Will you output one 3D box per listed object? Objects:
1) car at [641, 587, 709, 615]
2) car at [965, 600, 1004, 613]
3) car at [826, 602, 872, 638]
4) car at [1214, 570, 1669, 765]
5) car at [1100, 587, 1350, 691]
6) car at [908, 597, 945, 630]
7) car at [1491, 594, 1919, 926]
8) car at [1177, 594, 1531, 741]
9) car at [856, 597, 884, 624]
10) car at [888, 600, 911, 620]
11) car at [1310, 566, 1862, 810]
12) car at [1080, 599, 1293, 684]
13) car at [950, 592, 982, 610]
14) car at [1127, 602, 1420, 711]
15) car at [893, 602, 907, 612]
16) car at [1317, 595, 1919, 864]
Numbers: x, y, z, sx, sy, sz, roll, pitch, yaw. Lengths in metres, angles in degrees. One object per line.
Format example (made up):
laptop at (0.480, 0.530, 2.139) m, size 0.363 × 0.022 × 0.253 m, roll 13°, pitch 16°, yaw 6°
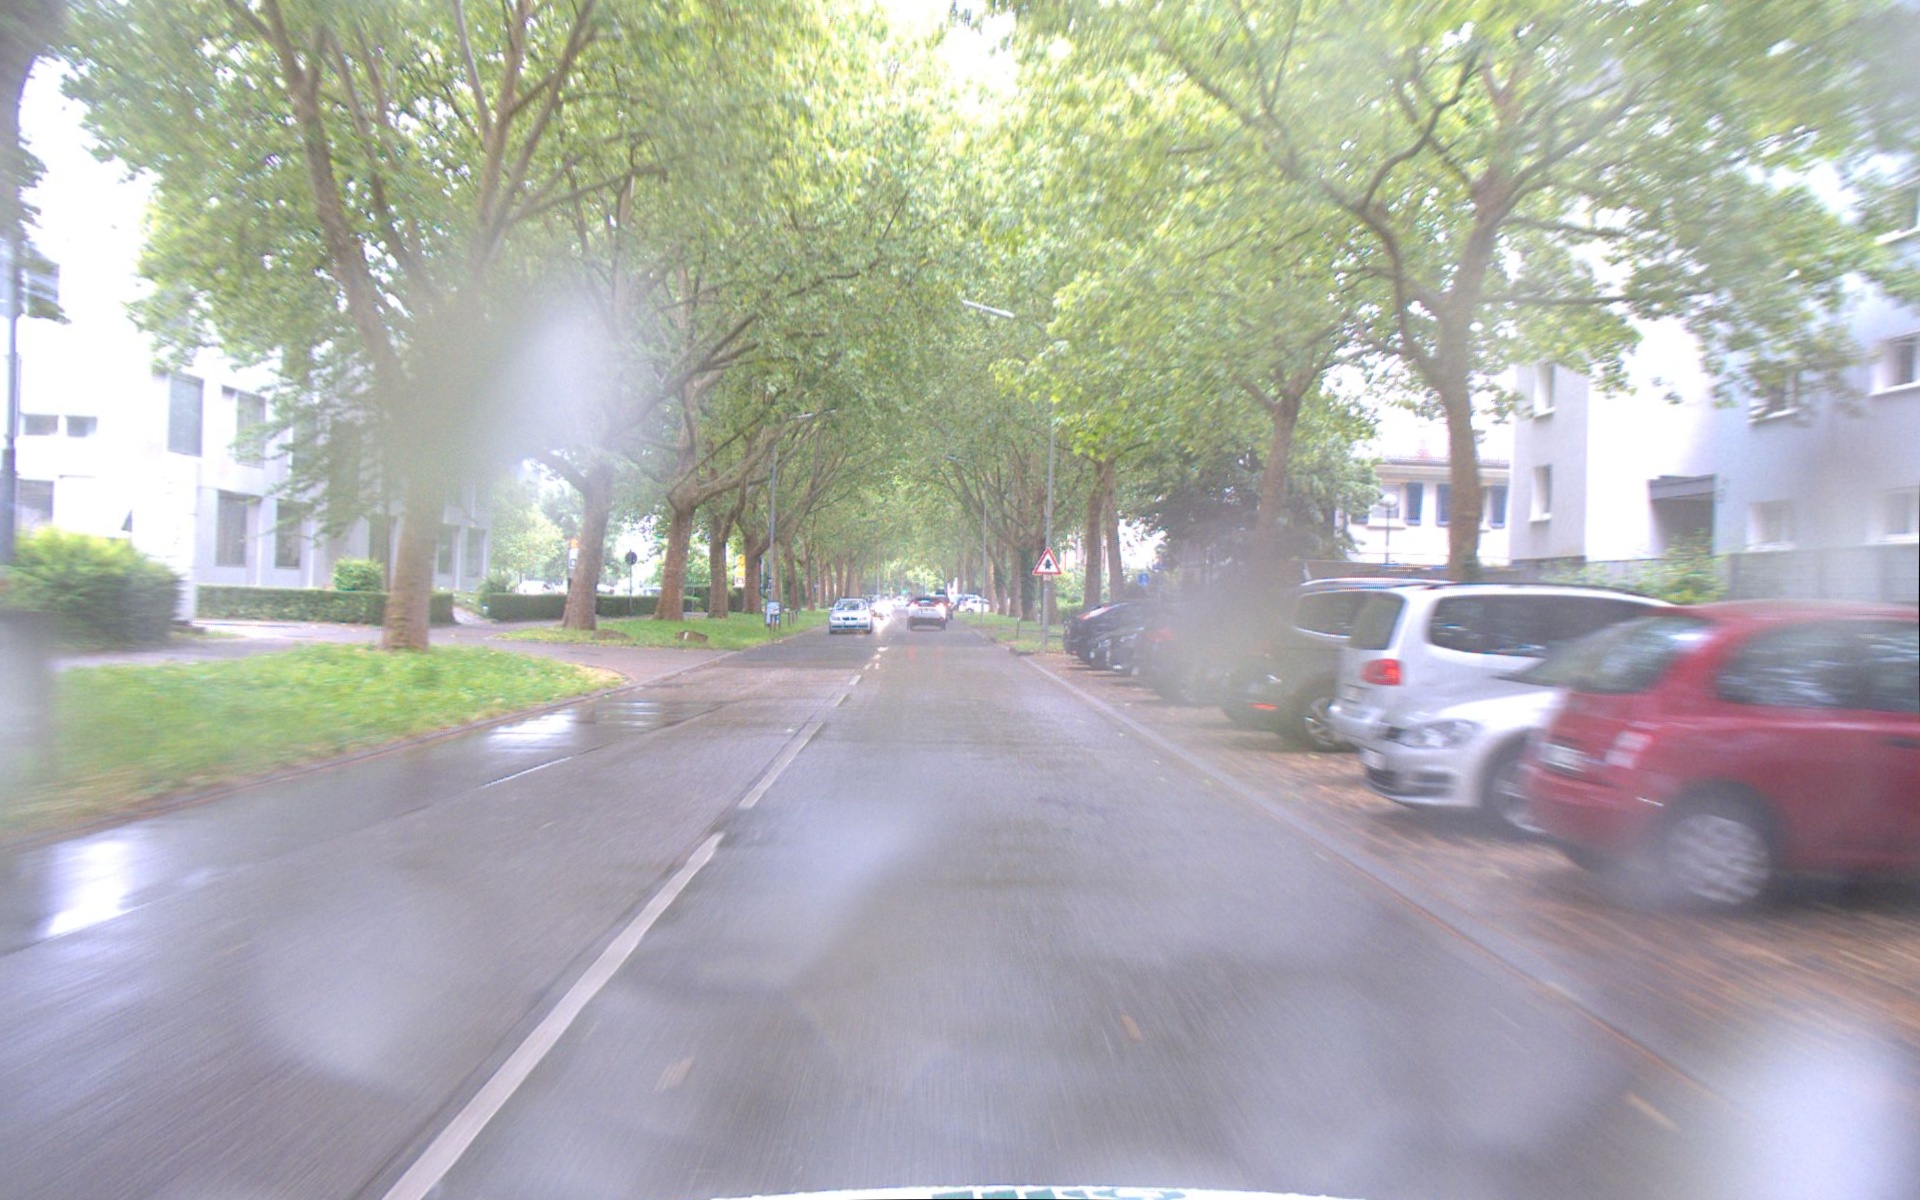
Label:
car at (-18.049, 0.064, 104.793) m, size 3.906 × 1.651 × 2.000 m, roll 2°, pitch 0°, yaw -1°
car at (2.286, 0.618, 152.813) m, size 3.477 × 1.175 × 1.710 m, roll 0°, pitch 0°, yaw -4°
car at (-4.592, 0.798, 69.153) m, size 1.644 × 1.413 × 4.548 m, roll 0°, pitch 0°, yaw -1°
car at (4.996, 0.677, 17.578) m, size 4.250 × 1.792 × 1.818 m, roll 2°, pitch 0°, yaw -1°
car at (4.704, 0.674, 29.755) m, size 4.125 × 1.684 × 1.913 m, roll 2°, pitch 0°, yaw -2°
car at (-1.545, 0.614, 75.912) m, size 1.671 × 1.436 × 3.644 m, roll 0°, pitch 0°, yaw -1°
car at (4.871, 0.755, 8.698) m, size 3.626 × 1.563 × 1.738 m, roll 0°, pitch 0°, yaw 2°
car at (4.752, 0.794, 20.318) m, size 3.906 × 1.564 × 1.631 m, roll 2°, pitch 0°, yaw -1°
car at (-5.985, 0.704, 110.579) m, size 1.773 × 1.713 × 4.446 m, roll 0°, pitch 0°, yaw -2°
car at (-4.485, 0.764, 123.244) m, size 1.671 × 1.436 × 3.644 m, roll 0°, pitch 0°, yaw -1°
car at (5.117, 0.688, 13.909) m, size 3.906 × 1.757 × 1.801 m, roll 2°, pitch 0°, yaw -1°
car at (4.518, 0.816, 33.349) m, size 3.961 × 1.557 × 1.779 m, roll 2°, pitch 0°, yaw -4°
car at (0.632, 0.125, 180.759) m, size 3.476 × 1.873 × 1.711 m, roll 0°, pitch 0°, yaw -3°
car at (4.575, 0.803, 24.427) m, size 3.956 × 1.466 × 1.684 m, roll -1°, pitch 0°, yaw -4°
car at (-8.221, 0.990, 226.981) m, size 1.685 × 1.276 × 4.000 m, roll 2°, pitch 0°, yaw -1°
car at (4.617, 0.823, 11.243) m, size 3.907 × 1.539 × 1.800 m, roll 2°, pitch 0°, yaw -3°
